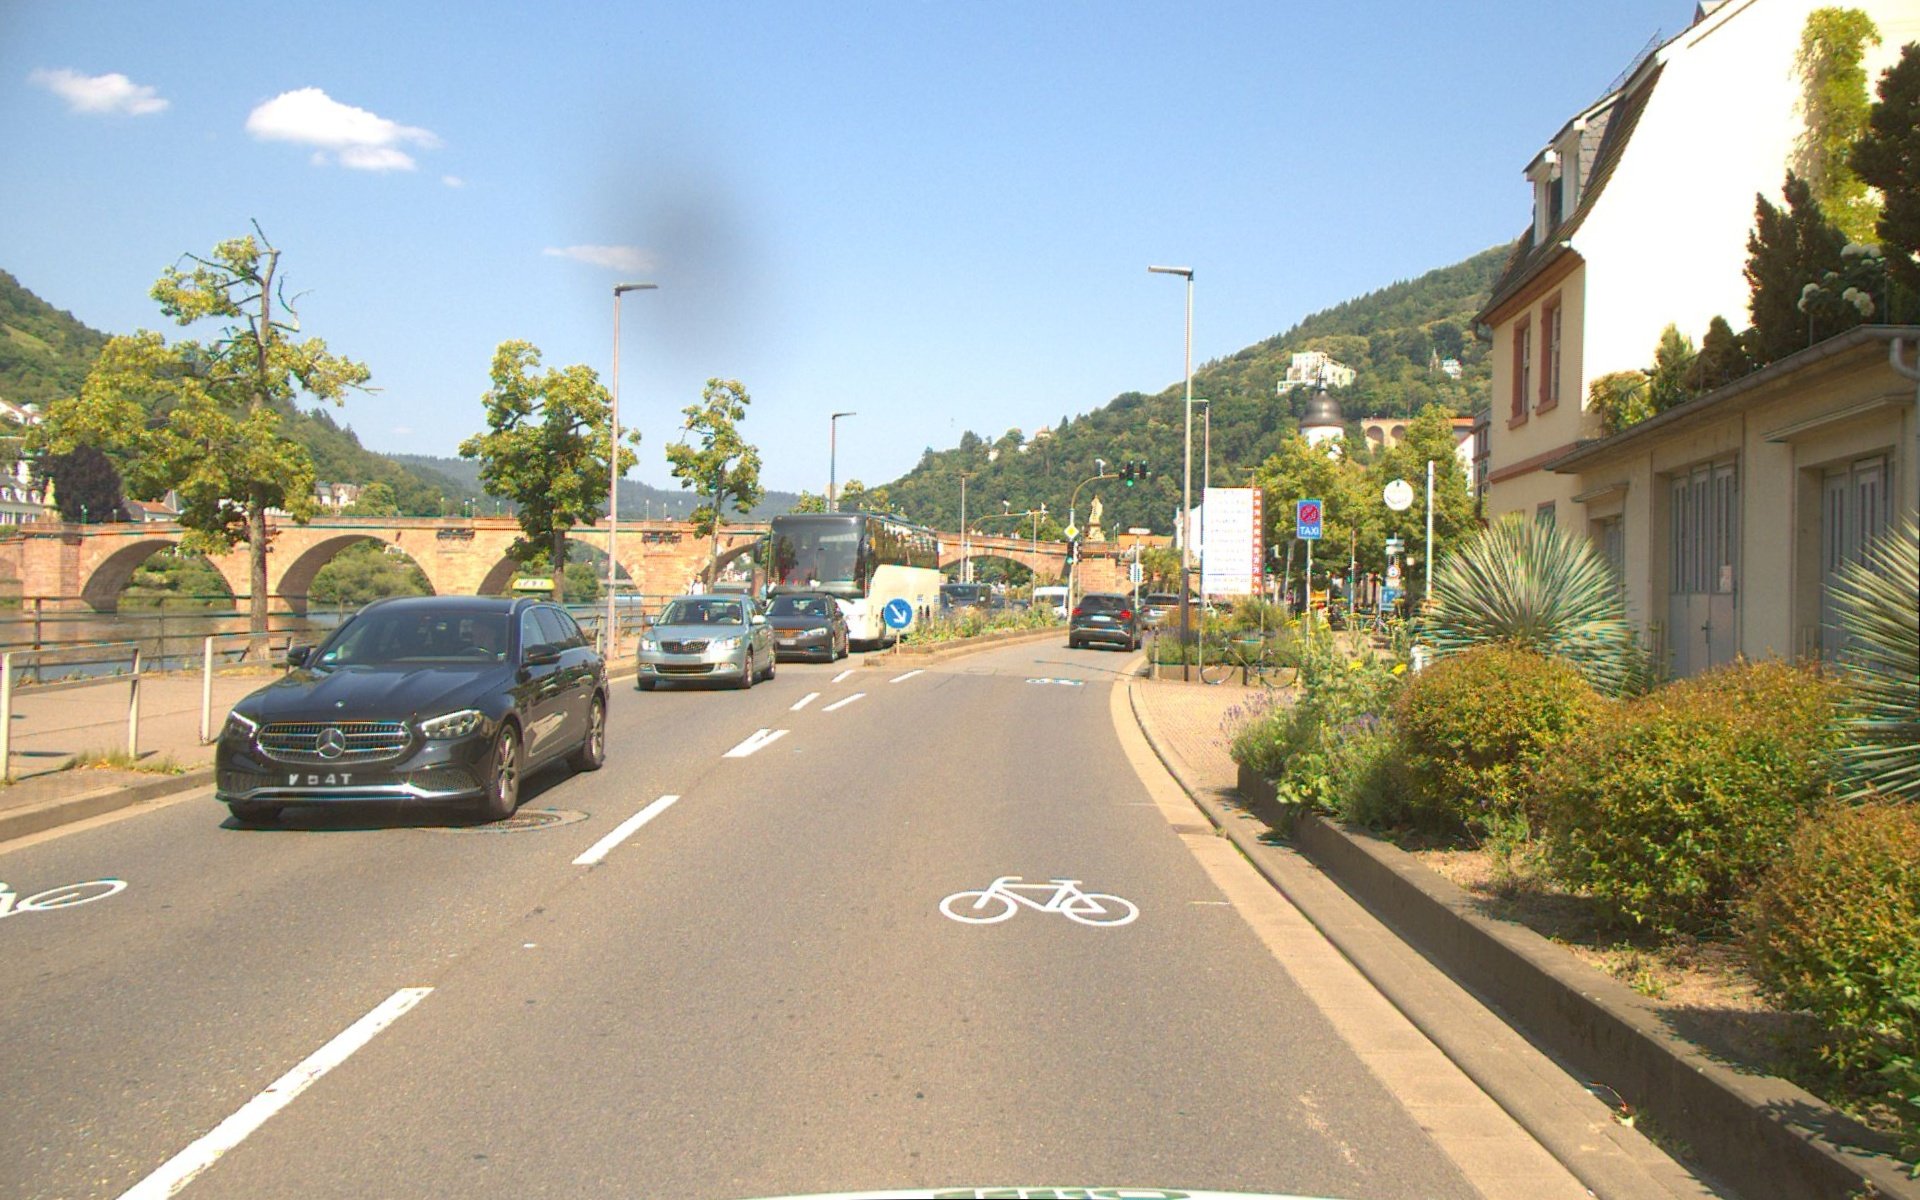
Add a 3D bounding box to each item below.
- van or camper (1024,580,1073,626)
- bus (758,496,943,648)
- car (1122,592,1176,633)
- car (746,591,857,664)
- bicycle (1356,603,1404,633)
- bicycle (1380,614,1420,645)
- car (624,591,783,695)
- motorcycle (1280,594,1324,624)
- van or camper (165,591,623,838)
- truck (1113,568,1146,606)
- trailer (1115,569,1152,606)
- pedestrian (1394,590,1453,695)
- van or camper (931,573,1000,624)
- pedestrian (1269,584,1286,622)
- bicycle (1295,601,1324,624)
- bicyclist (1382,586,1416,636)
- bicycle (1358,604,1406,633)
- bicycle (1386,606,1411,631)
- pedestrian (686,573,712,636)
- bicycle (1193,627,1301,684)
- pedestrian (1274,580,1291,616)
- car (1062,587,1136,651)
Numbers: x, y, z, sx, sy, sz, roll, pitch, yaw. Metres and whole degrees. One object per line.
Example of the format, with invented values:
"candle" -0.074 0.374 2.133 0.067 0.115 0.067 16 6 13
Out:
"van or camper" 5.021 0.222 93.031 1.951 2.493 5.498 -1 -1 12
"bus" -2.698 -0.606 46.190 2.575 3.626 12.992 1 -1 8
"car" 7.234 0.447 62.935 1.885 1.486 4.836 1 0 8
"car" -3.320 0.552 35.388 1.779 1.454 4.194 0 0 3
"bicycle" 18.693 0.813 73.553 1.958 1.219 0.521 3 1 24
"bicycle" 14.242 0.951 53.603 0.734 0.981 1.781 1 0 -2
"car" -4.002 0.619 26.469 1.776 1.453 4.311 -1 1 1
"motorcycle" 17.364 0.469 83.944 0.756 1.491 2.268 1 -2 -37
"van or camper" -3.953 0.702 12.509 1.953 1.480 4.681 -1 0 -2
"truck" 15.857 -1.171 154.196 2.601 3.463 4.453 1 0 11
"trailer" 16.623 -1.169 157.963 2.601 3.463 8.834 1 0 11
"pedestrian" 7.343 0.660 26.231 0.746 1.623 0.696 1 0 4
"van or camper" 0.268 -0.050 64.407 1.951 1.906 5.184 0 0 9
"pedestrian" 15.415 0.150 80.237 0.679 1.802 0.764 -1 0 4
"bicycle" 18.235 0.652 86.342 1.452 1.139 0.294 -1 -1 6
"bicyclist" 14.265 0.360 53.768 0.751 1.611 1.089 1 0 -2
"bicycle" 18.874 0.835 74.029 1.971 1.219 0.521 2 1 24
"bicycle" 19.892 0.844 74.995 0.583 1.086 2.061 0 -2 30
"pedestrian" -7.657 0.135 48.512 0.607 1.811 0.662 1 0 4
"bicycle" 4.997 0.966 28.864 1.773 0.893 0.502 3 1 -1
"pedestrian" 15.571 -0.093 79.944 0.679 1.707 0.764 -1 0 4
"car" 3.900 0.502 46.065 1.886 1.580 4.835 3 0 5
